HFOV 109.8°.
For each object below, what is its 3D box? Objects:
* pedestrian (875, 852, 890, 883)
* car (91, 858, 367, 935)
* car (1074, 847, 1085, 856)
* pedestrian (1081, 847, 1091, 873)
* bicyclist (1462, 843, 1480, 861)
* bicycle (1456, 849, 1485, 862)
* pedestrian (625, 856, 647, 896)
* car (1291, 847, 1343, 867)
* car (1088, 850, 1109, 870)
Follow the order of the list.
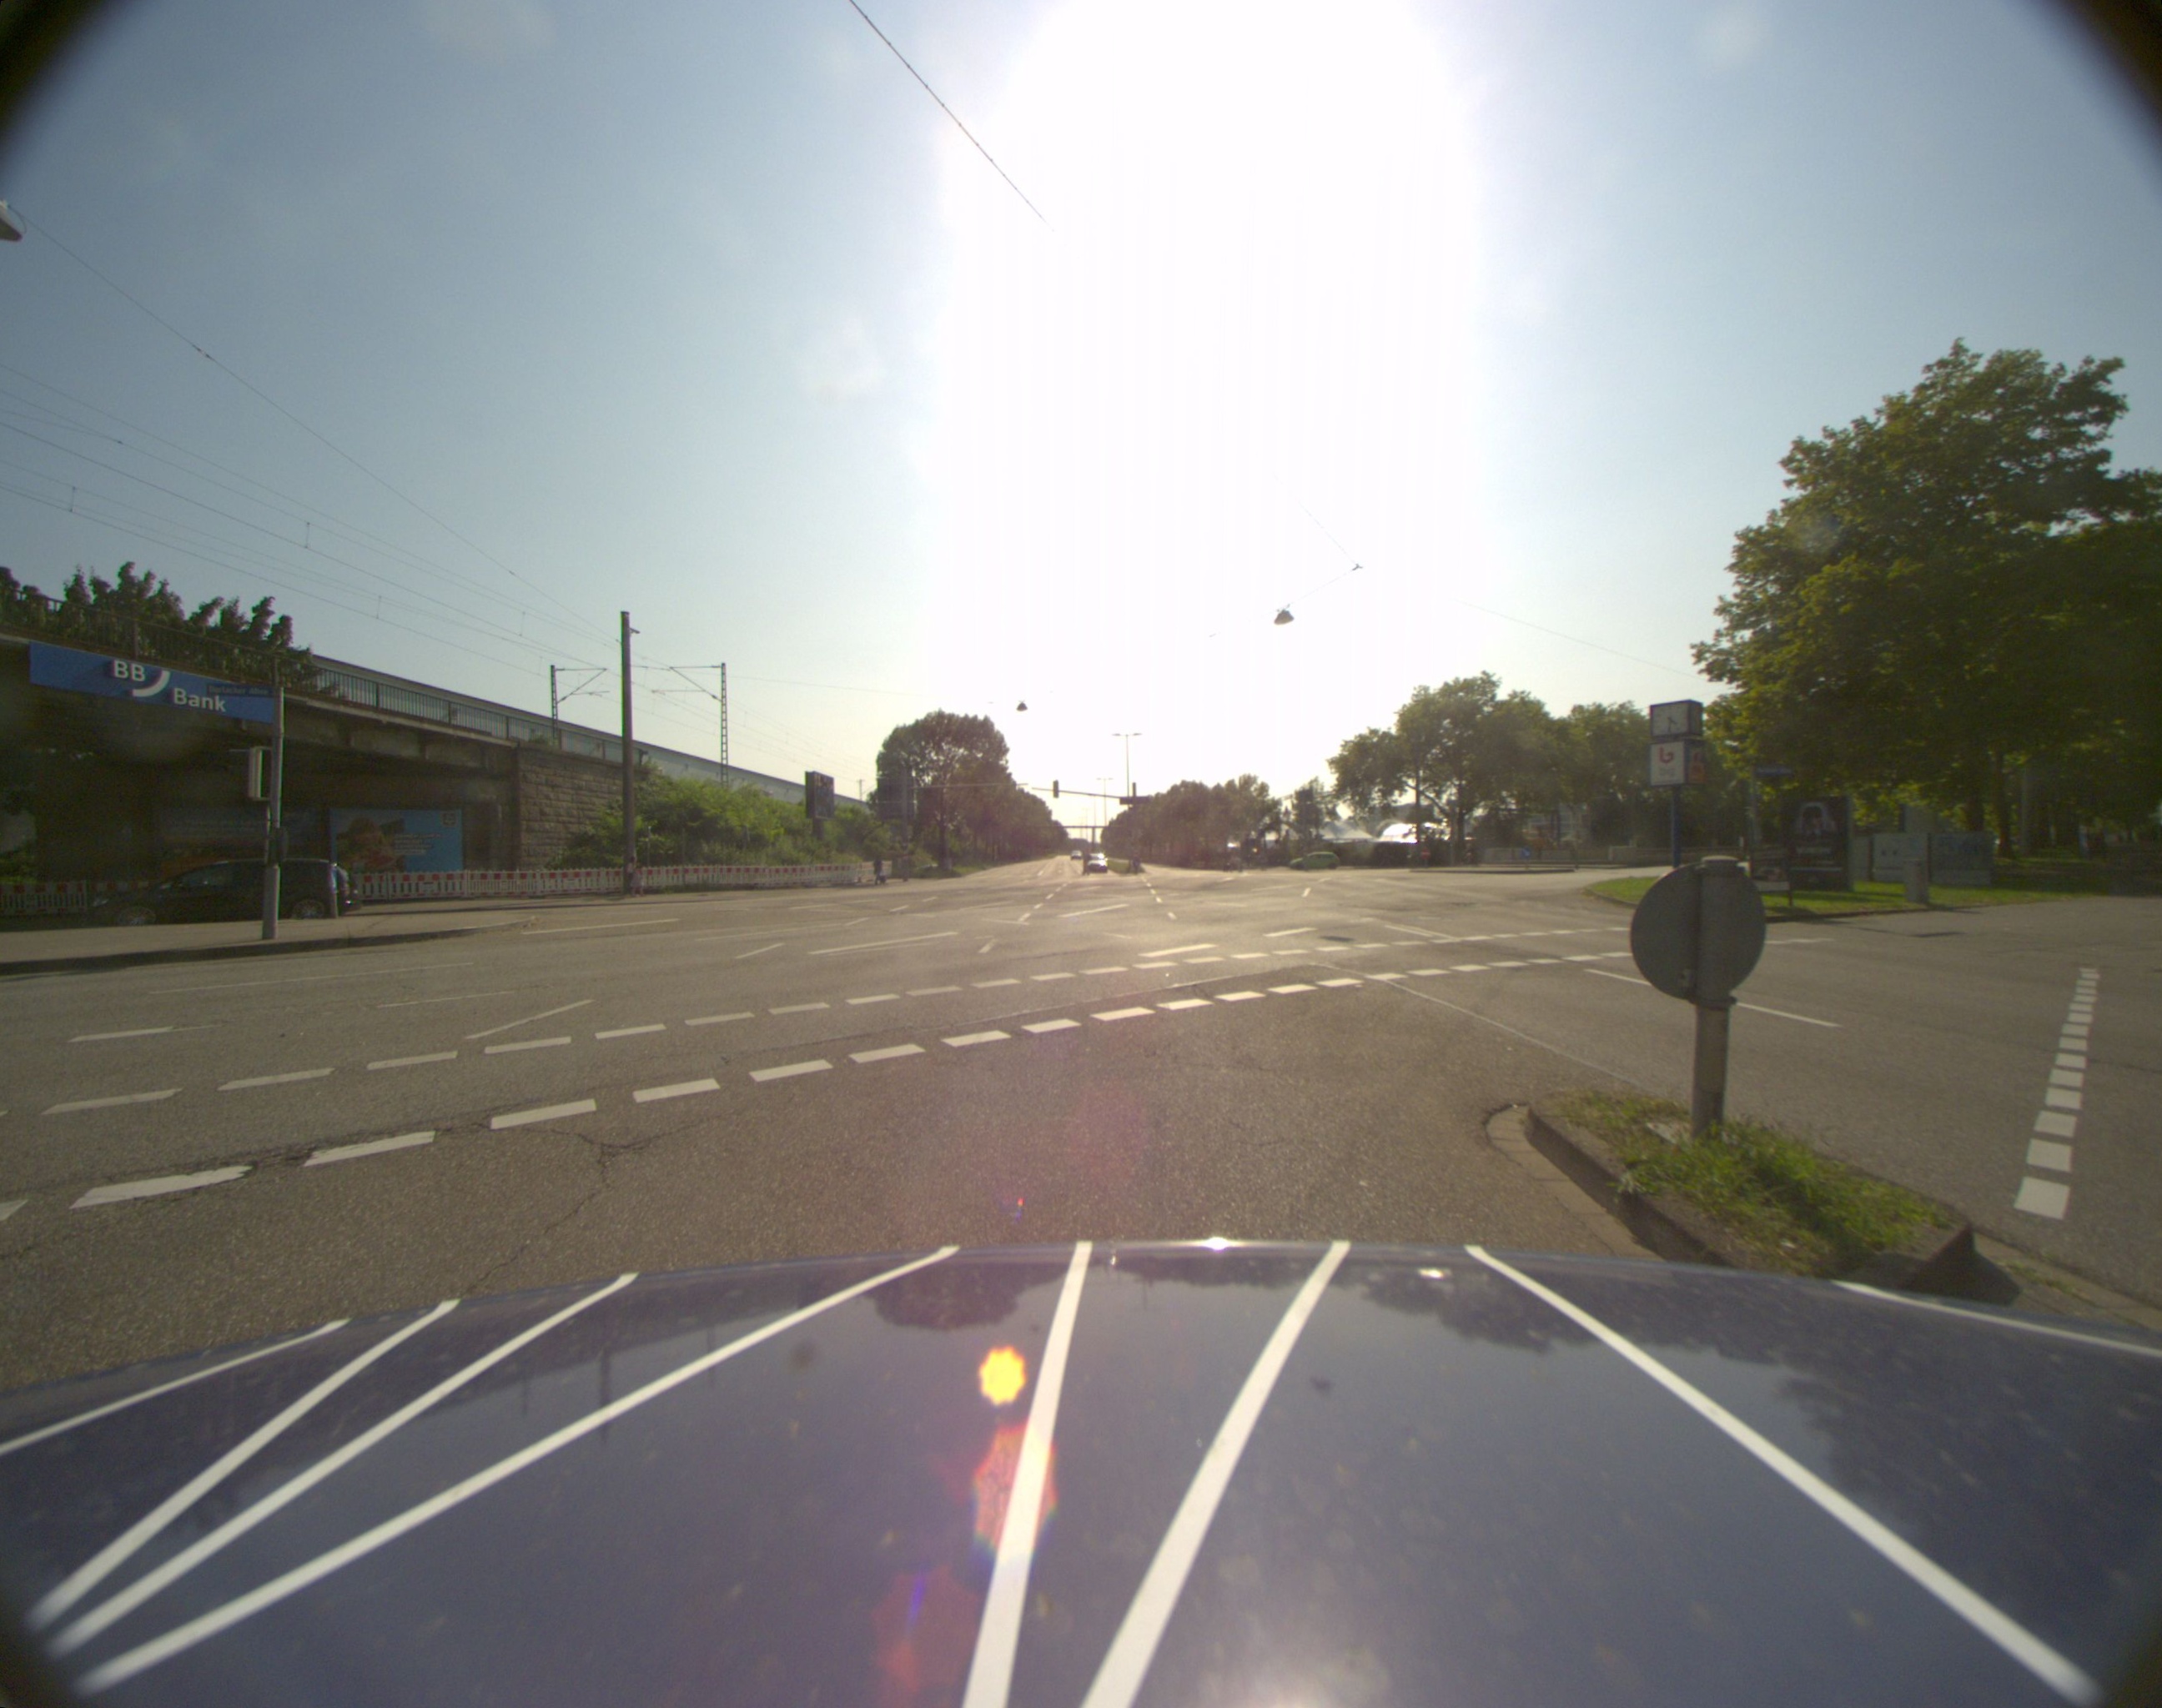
[{"bbox_3d":[-10.422,0.696,39.879,0.650,1.565,0.758,0,2,-8],"label":"pedestrian"},{"bbox_3d":[-20.500,0.974,18.607,4.202,1.578,1.777,-2,-1,-38],"label":"car"},{"bbox_3d":[-0.333,-0.475,135.081,1.864,1.585,4.000,-1,1,1],"label":"car"},{"bbox_3d":[0.316,0.406,51.009,0.646,1.715,0.587,0,2,3],"label":"pedestrian"},{"bbox_3d":[25.315,-0.152,49.338,0.521,1.134,0.907,-2,1,-22],"label":"bicyclist"},{"bbox_3d":[25.304,0.084,49.382,0.531,0.860,1.733,-2,1,-22],"label":"bicycle"},{"bbox_3d":[-17.826,0.887,30.415,0.636,1.565,0.489,-3,2,-38],"label":"pedestrian"},{"bbox_3d":[19.209,0.207,62.073,3.992,1.543,2.002,-1,1,15],"label":"car"},{"bbox_3d":[1.360,0.422,58.593,1.545,1.434,3.395,-1,1,2],"label":"car"}]
